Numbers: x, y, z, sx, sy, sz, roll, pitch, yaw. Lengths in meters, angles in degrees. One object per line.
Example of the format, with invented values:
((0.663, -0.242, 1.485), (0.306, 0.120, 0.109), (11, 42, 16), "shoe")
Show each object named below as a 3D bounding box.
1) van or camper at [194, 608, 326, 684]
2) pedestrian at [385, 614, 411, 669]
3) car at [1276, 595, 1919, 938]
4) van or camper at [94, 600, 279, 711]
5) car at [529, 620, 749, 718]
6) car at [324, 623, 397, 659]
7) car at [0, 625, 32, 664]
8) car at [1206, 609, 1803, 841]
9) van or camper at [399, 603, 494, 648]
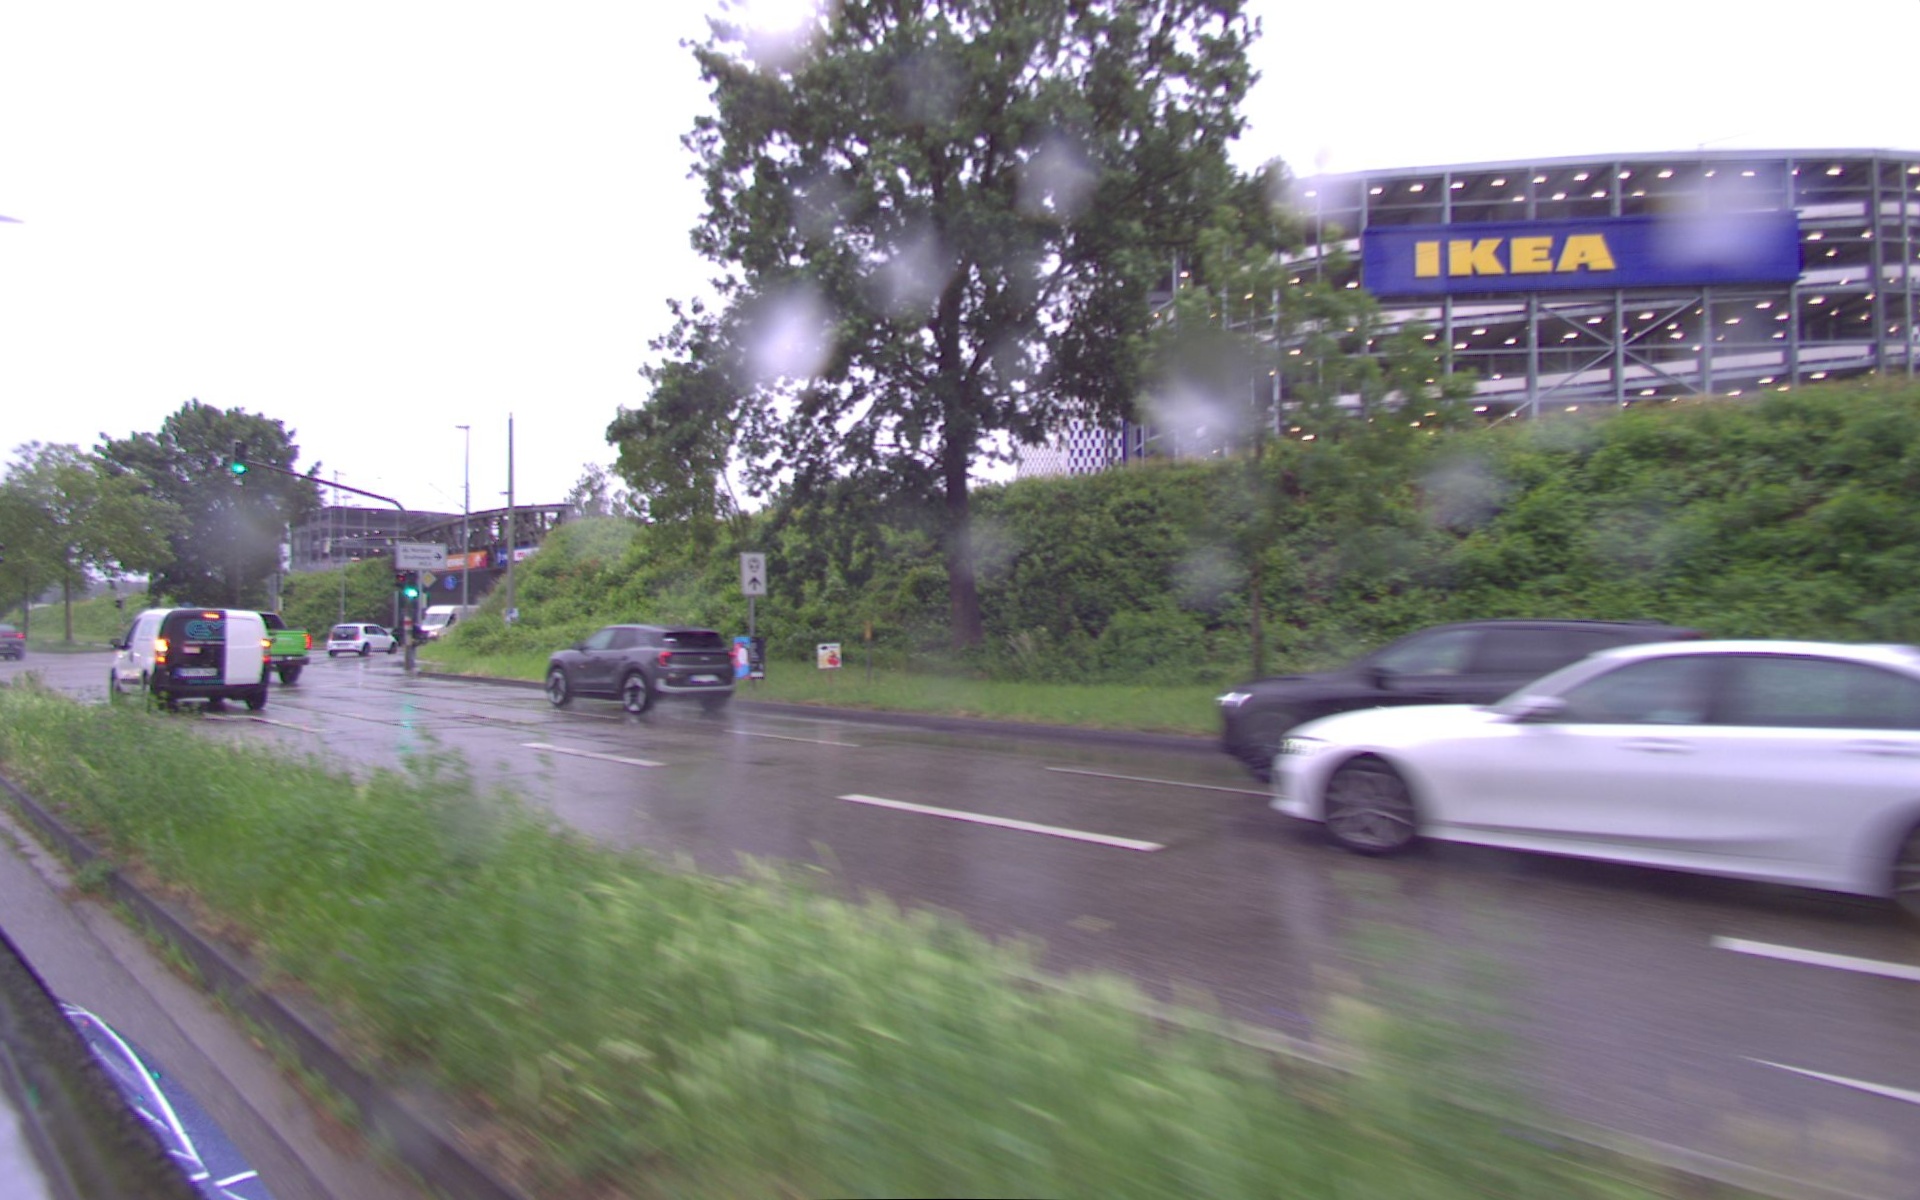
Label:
((-17.912, 1.150, 25.827), (4.217, 1.798, 1.683), (-1, -3, 40), "van or camper")
((-18.544, 1.352, 33.388), (0.625, 1.801, 0.480), (-1, -2, 33), "pedestrian")
((4.542, 0.850, 6.089), (4.709, 1.625, 1.879), (-1, -4, 41), "car")
((-13.769, 0.947, 17.950), (3.997, 1.755, 1.711), (-1, -4, 40), "van or camper")
((-6.099, 1.208, 19.026), (4.402, 1.625, 1.879), (-1, -2, 40), "car")
((-27.988, 1.890, 47.384), (1.628, 1.614, 3.571), (0, -2, -7), "car")
((-41.861, 1.894, 43.534), (4.377, 1.614, 1.954), (-1, -2, 35), "car")
((4.943, 0.965, 9.617), (4.675, 1.673, 2.016), (-1, -2, 40), "car")
((-32.216, 1.619, 63.838), (1.975, 2.682, 6.917), (0, -1, 5), "van or camper")
